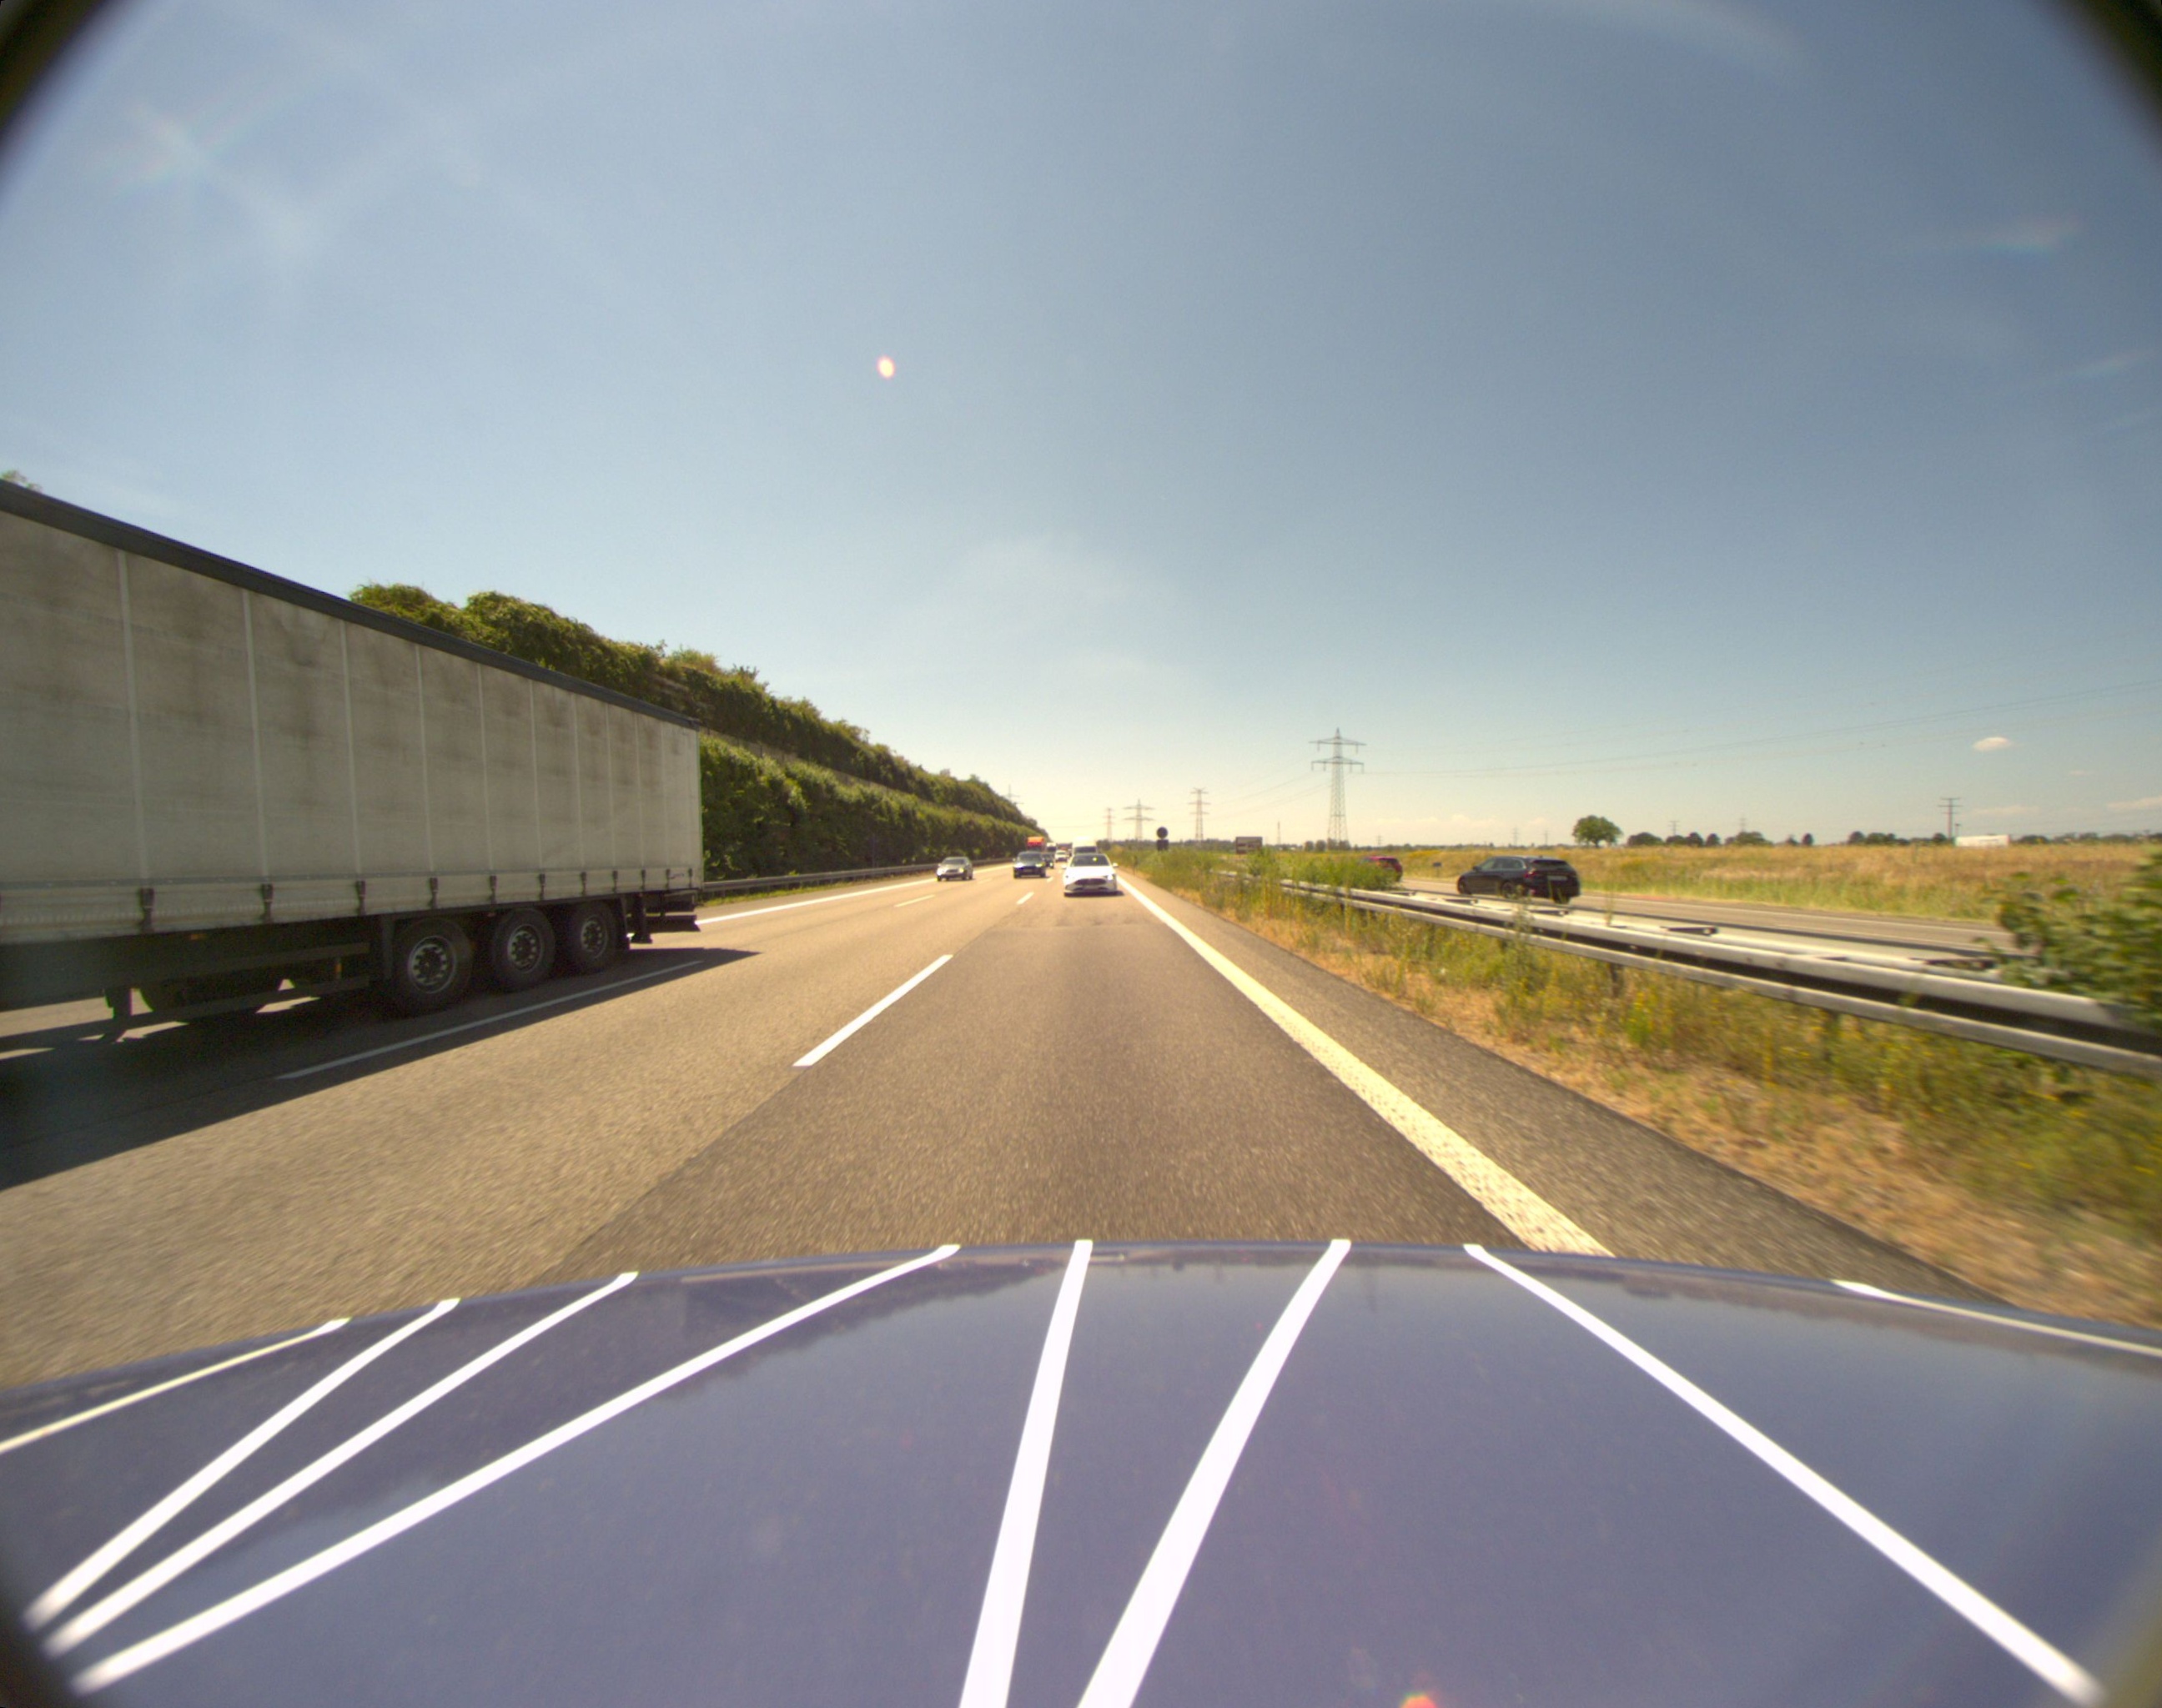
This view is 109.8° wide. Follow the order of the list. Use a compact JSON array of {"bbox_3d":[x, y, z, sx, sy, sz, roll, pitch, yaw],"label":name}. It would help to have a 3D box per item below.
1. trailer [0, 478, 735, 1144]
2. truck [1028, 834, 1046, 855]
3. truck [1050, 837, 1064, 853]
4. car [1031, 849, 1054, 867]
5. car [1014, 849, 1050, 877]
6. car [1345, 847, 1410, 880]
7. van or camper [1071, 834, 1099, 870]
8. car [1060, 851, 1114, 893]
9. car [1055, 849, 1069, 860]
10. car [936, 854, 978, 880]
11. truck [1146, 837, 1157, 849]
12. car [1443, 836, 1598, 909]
[{"bbox_3d":[-7.982,-0.280,7.802,2.735,4.079,13.187,-1,1,0],"label":"trailer"},{"bbox_3d":[-7.100,-1.586,123.741,2.581,3.205,5.712,-2,1,0],"label":"truck"},{"bbox_3d":[-5.958,-2.196,189.631,3.507,3.891,9.645,0,1,-1],"label":"truck"},{"bbox_3d":[-3.661,0.378,73.519,1.984,1.671,4.558,0,1,0],"label":"car"},{"bbox_3d":[-3.074,0.518,48.307,1.984,1.671,4.558,-1,0,0],"label":"car"},{"bbox_3d":[17.363,0.519,44.761,1.923,1.769,4.978,-1,1,1],"label":"car"},{"bbox_3d":[0.383,-0.179,60.324,1.998,2.741,5.410,-2,1,2],"label":"van or camper"},{"bbox_3d":[0.226,0.659,30.540,1.984,1.525,4.558,-2,0,0],"label":"car"},{"bbox_3d":[-2.885,0.070,116.541,1.984,1.525,4.137,0,0,0],"label":"car"},{"bbox_3d":[-7.569,0.765,46.799,1.840,1.403,4.558,-2,0,0],"label":"car"},{"bbox_3d":[23.744,-3.777,257.349,3.214,4.060,9.648,0,1,2],"label":"truck"},{"bbox_3d":[13.519,0.489,23.809,1.998,2.002,4.841,2,1,1],"label":"car"}]
